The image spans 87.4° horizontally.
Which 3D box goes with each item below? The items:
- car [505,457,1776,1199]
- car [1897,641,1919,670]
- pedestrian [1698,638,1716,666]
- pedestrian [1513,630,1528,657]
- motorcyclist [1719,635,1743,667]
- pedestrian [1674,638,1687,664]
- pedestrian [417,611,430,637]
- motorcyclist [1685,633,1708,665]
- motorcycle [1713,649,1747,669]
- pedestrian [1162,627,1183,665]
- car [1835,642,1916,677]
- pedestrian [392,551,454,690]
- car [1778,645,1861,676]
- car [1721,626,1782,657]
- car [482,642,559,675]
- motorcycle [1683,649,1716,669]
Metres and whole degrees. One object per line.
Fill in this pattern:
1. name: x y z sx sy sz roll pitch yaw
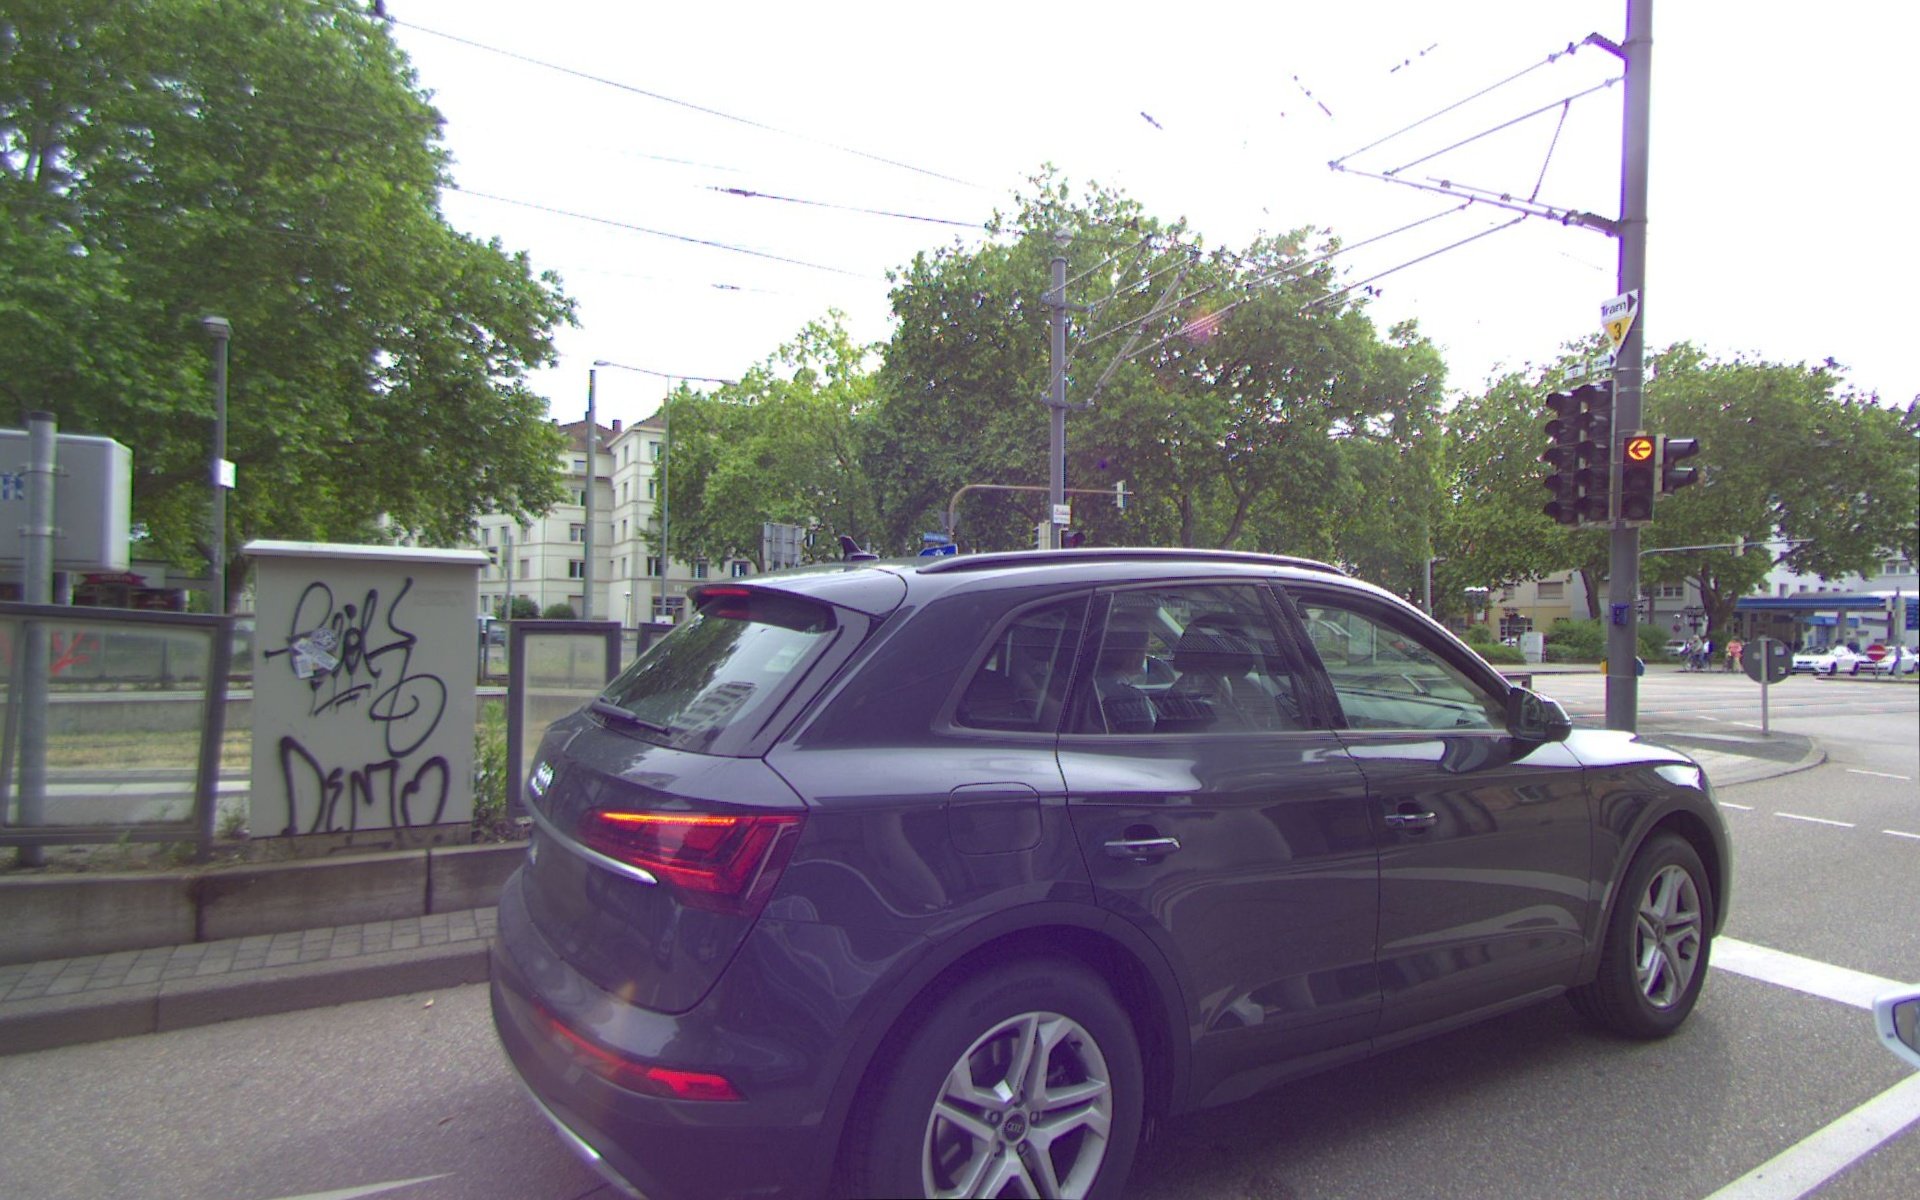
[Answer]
1. car: 0.818 0.646 3.459 4.177 1.658 1.725 2 0 -30
2. car: 52.774 3.034 54.603 3.593 1.497 1.649 2 0 -29
3. pedestrian: 41.437 2.887 55.734 0.550 1.499 0.644 2 -1 -30
4. pedestrian: 35.982 2.781 64.516 0.599 1.723 0.604 1 -1 -1
5. motorcyclist: 37.171 2.454 48.425 0.863 1.540 0.617 2 -1 -30
6. pedestrian: 40.487 2.856 56.424 0.421 1.479 0.474 2 -1 -30
7. pedestrian: -42.895 1.913 80.307 0.659 2.040 0.674 2 0 31
8. motorcyclist: 35.905 2.406 48.974 0.863 1.540 0.617 2 -1 -30
9. motorcycle: 37.106 2.847 48.376 1.928 0.941 0.604 2 -1 -30
10. pedestrian: 8.622 1.860 40.815 0.645 1.530 0.682 1 -1 28
11. car: 46.971 3.022 51.521 3.953 1.615 1.984 2 0 -30
12. pedestrian: -7.085 0.265 13.247 0.658 1.773 0.732 2 0 -30
13. car: 41.370 2.908 48.335 4.025 1.338 1.739 2 0 -29
14. car: 54.607 2.879 69.277 3.953 2.040 1.984 2 -1 -30
15. car: -24.551 3.230 56.098 3.929 1.706 1.996 0 -1 31
16. motorcycle: 36.141 2.865 49.083 1.928 0.941 0.604 2 -1 -30
